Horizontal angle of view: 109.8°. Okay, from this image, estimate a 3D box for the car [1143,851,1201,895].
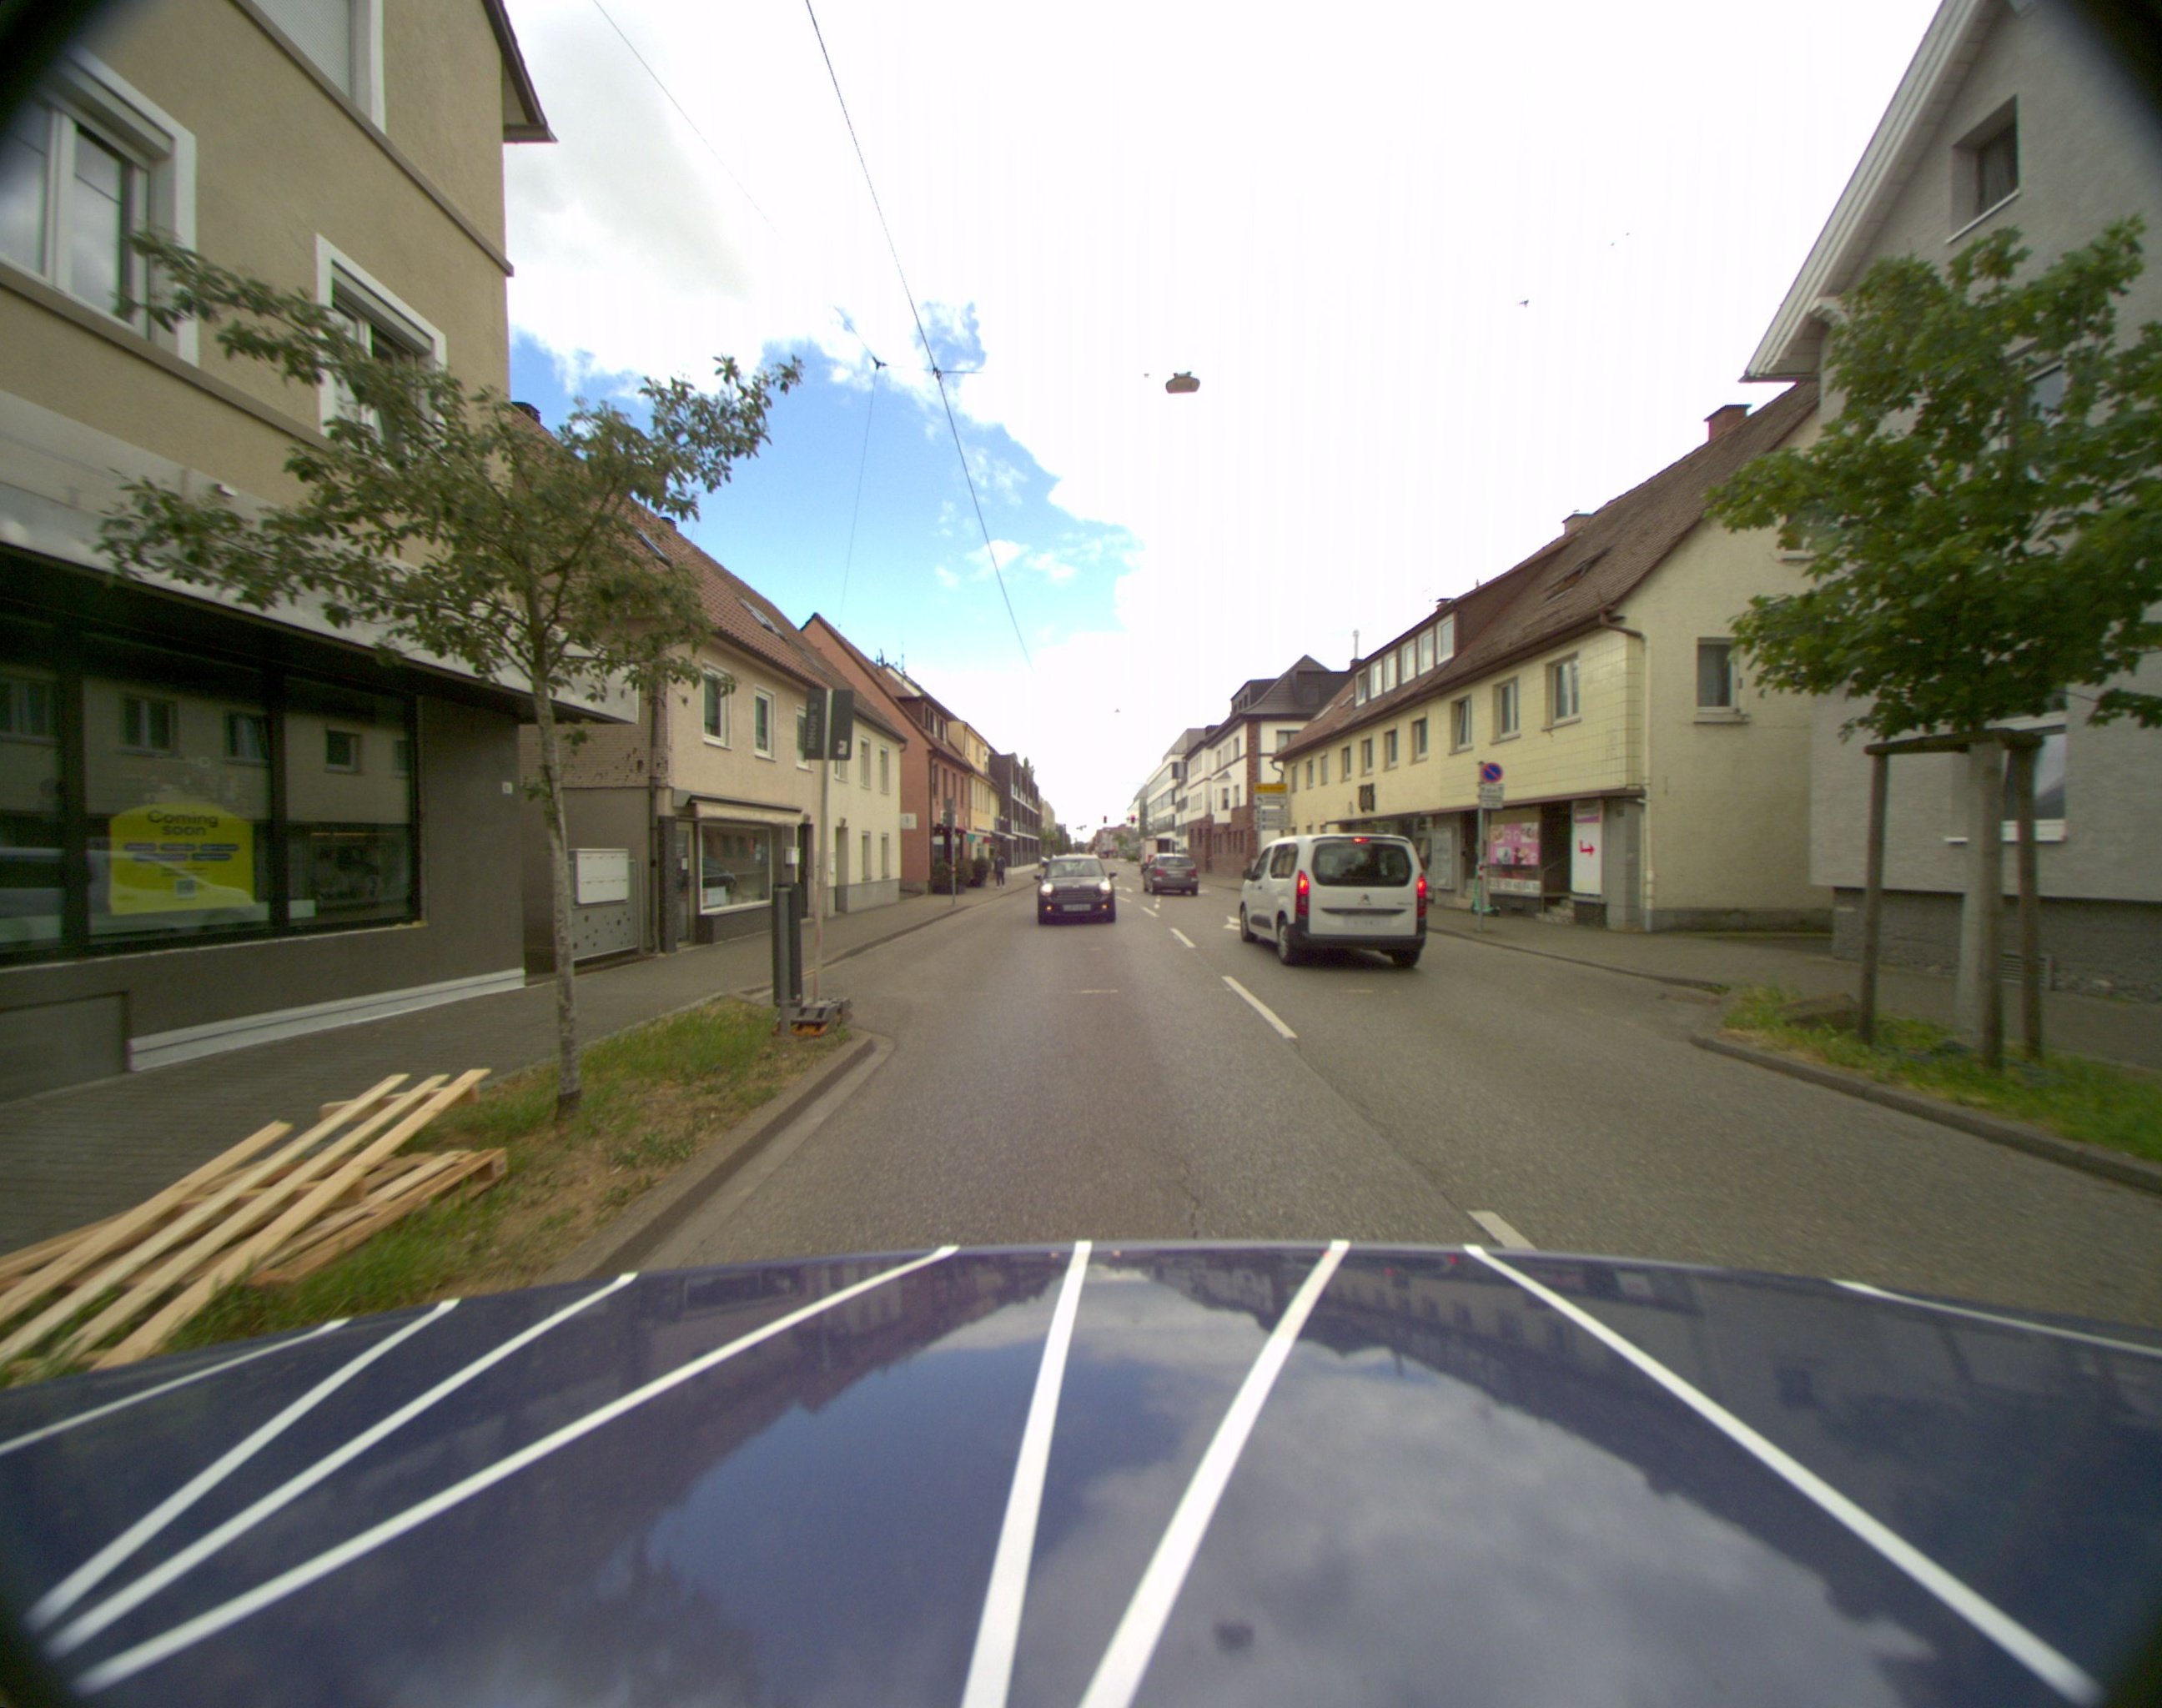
[{"bbox_3d":[3.544,0.689,30.212,1.784,1.543,4.074,2,1,0],"label":"car"}]

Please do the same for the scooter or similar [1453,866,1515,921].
[{"bbox_3d":[9.312,0.877,17.606,0.529,1.163,1.721,-1,1,1],"label":"scooter or similar"}]

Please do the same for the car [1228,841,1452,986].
[{"bbox_3d":[3.630,0.721,11.573,1.998,1.786,4.277,0,1,1],"label":"car"}]

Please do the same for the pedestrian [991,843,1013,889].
[{"bbox_3d":[-3.635,0.531,34.979,0.826,2.063,1.010,2,1,-1],"label":"pedestrian"}]

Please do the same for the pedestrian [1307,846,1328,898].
[{"bbox_3d":[8.058,0.604,25.904,0.497,1.727,0.648,0,1,1],"label":"pedestrian"}]

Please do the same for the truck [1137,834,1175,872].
[{"bbox_3d":[6.162,-0.123,63.083,2.468,2.954,5.964,-1,1,0],"label":"truck"}]

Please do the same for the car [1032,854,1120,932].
[{"bbox_3d":[-0.080,0.857,18.780,1.847,1.571,4.429,-3,1,1],"label":"car"}]
